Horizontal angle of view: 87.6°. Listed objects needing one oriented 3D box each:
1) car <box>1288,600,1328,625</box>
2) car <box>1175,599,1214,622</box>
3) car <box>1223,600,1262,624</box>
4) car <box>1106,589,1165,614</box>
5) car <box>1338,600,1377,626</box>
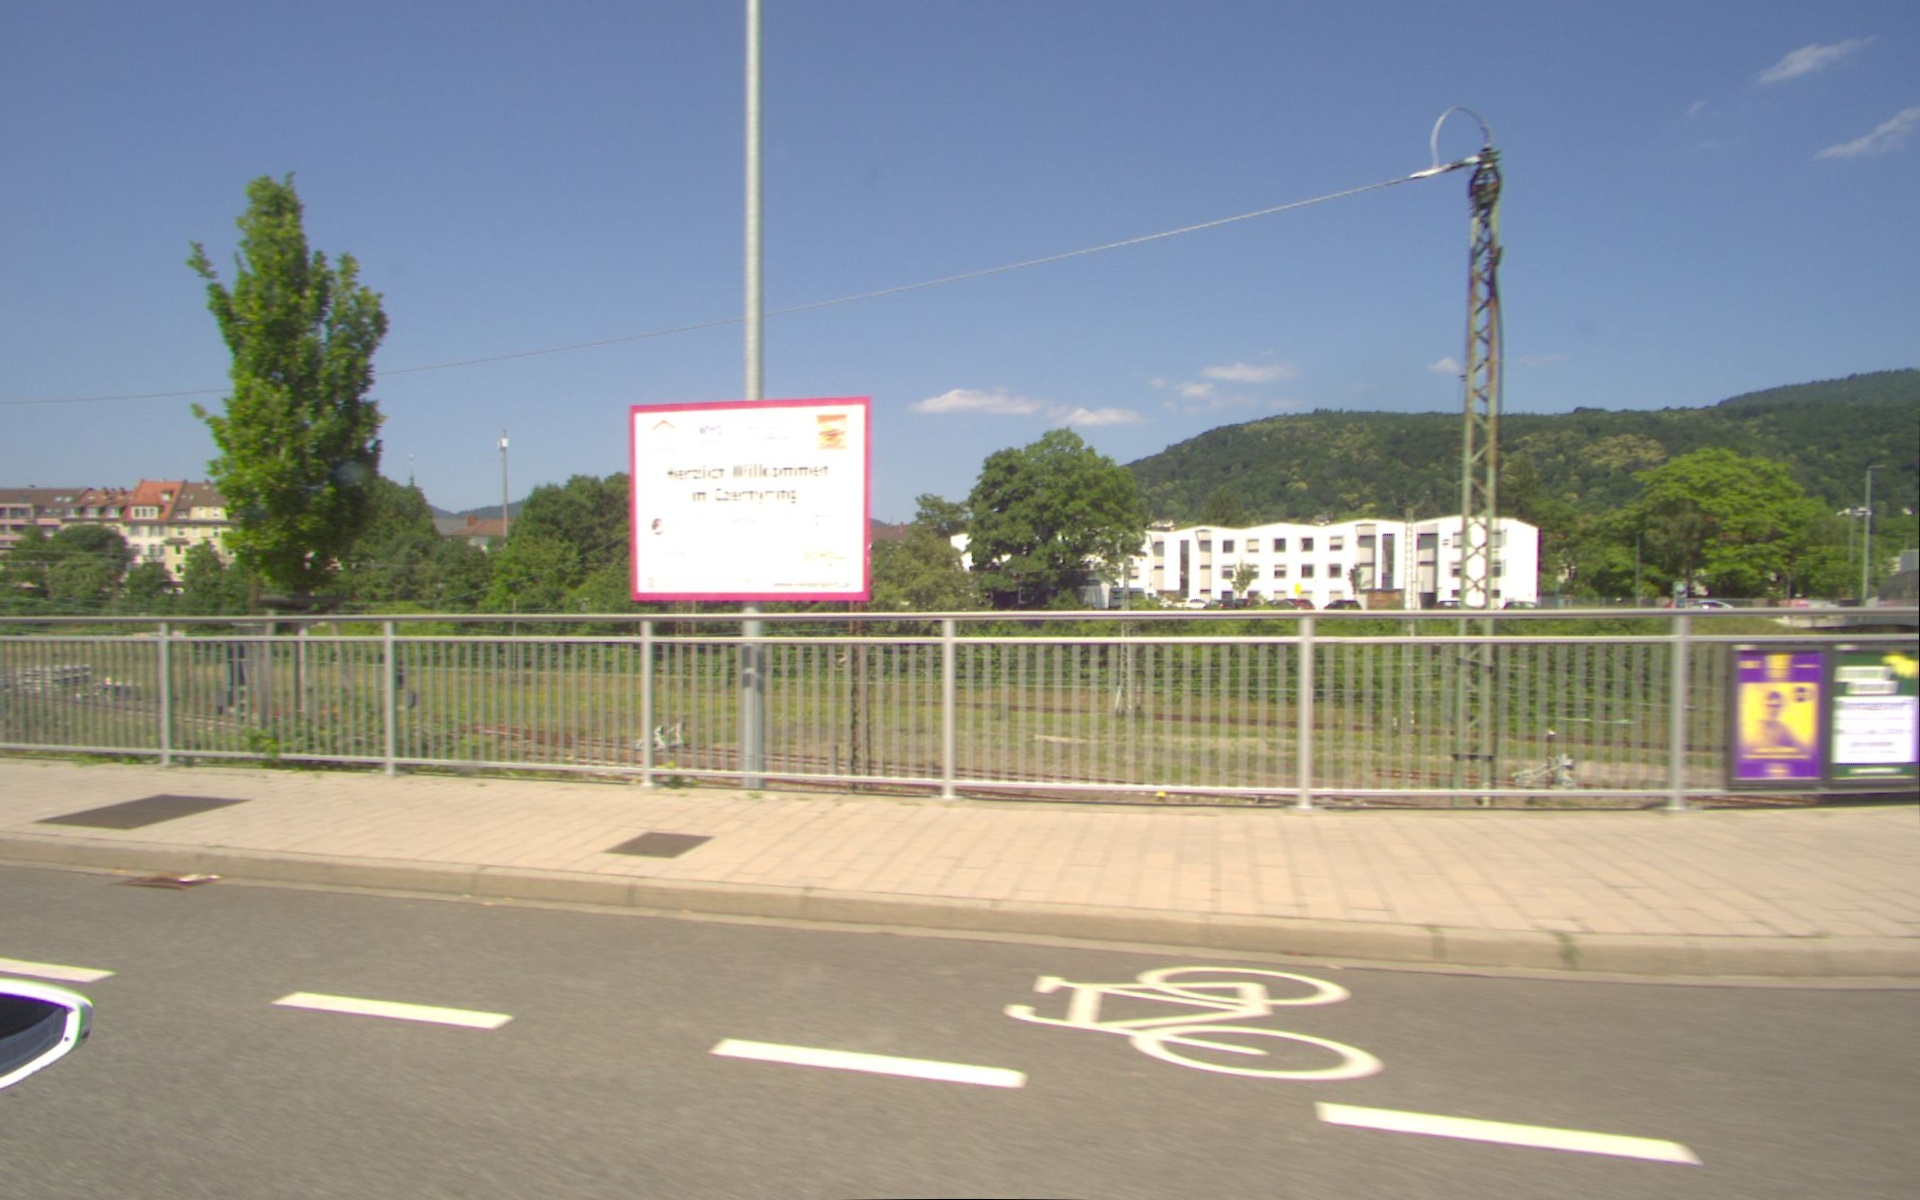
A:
[{"bbox_3d":[29.578,1.042,85.067,1.973,2.041,4.441,1,1,36],"label":"car"},{"bbox_3d":[21.845,0.950,93.195,1.973,2.041,4.441,1,1,36],"label":"car"},{"bbox_3d":[25.086,0.996,88.868,1.973,2.041,4.441,1,1,36],"label":"car"},{"bbox_3d":[15.774,0.115,89.965,4.903,2.141,1.996,0,1,19],"label":"car"},{"bbox_3d":[32.720,1.074,82.423,1.973,2.041,4.441,1,1,36],"label":"car"}]
